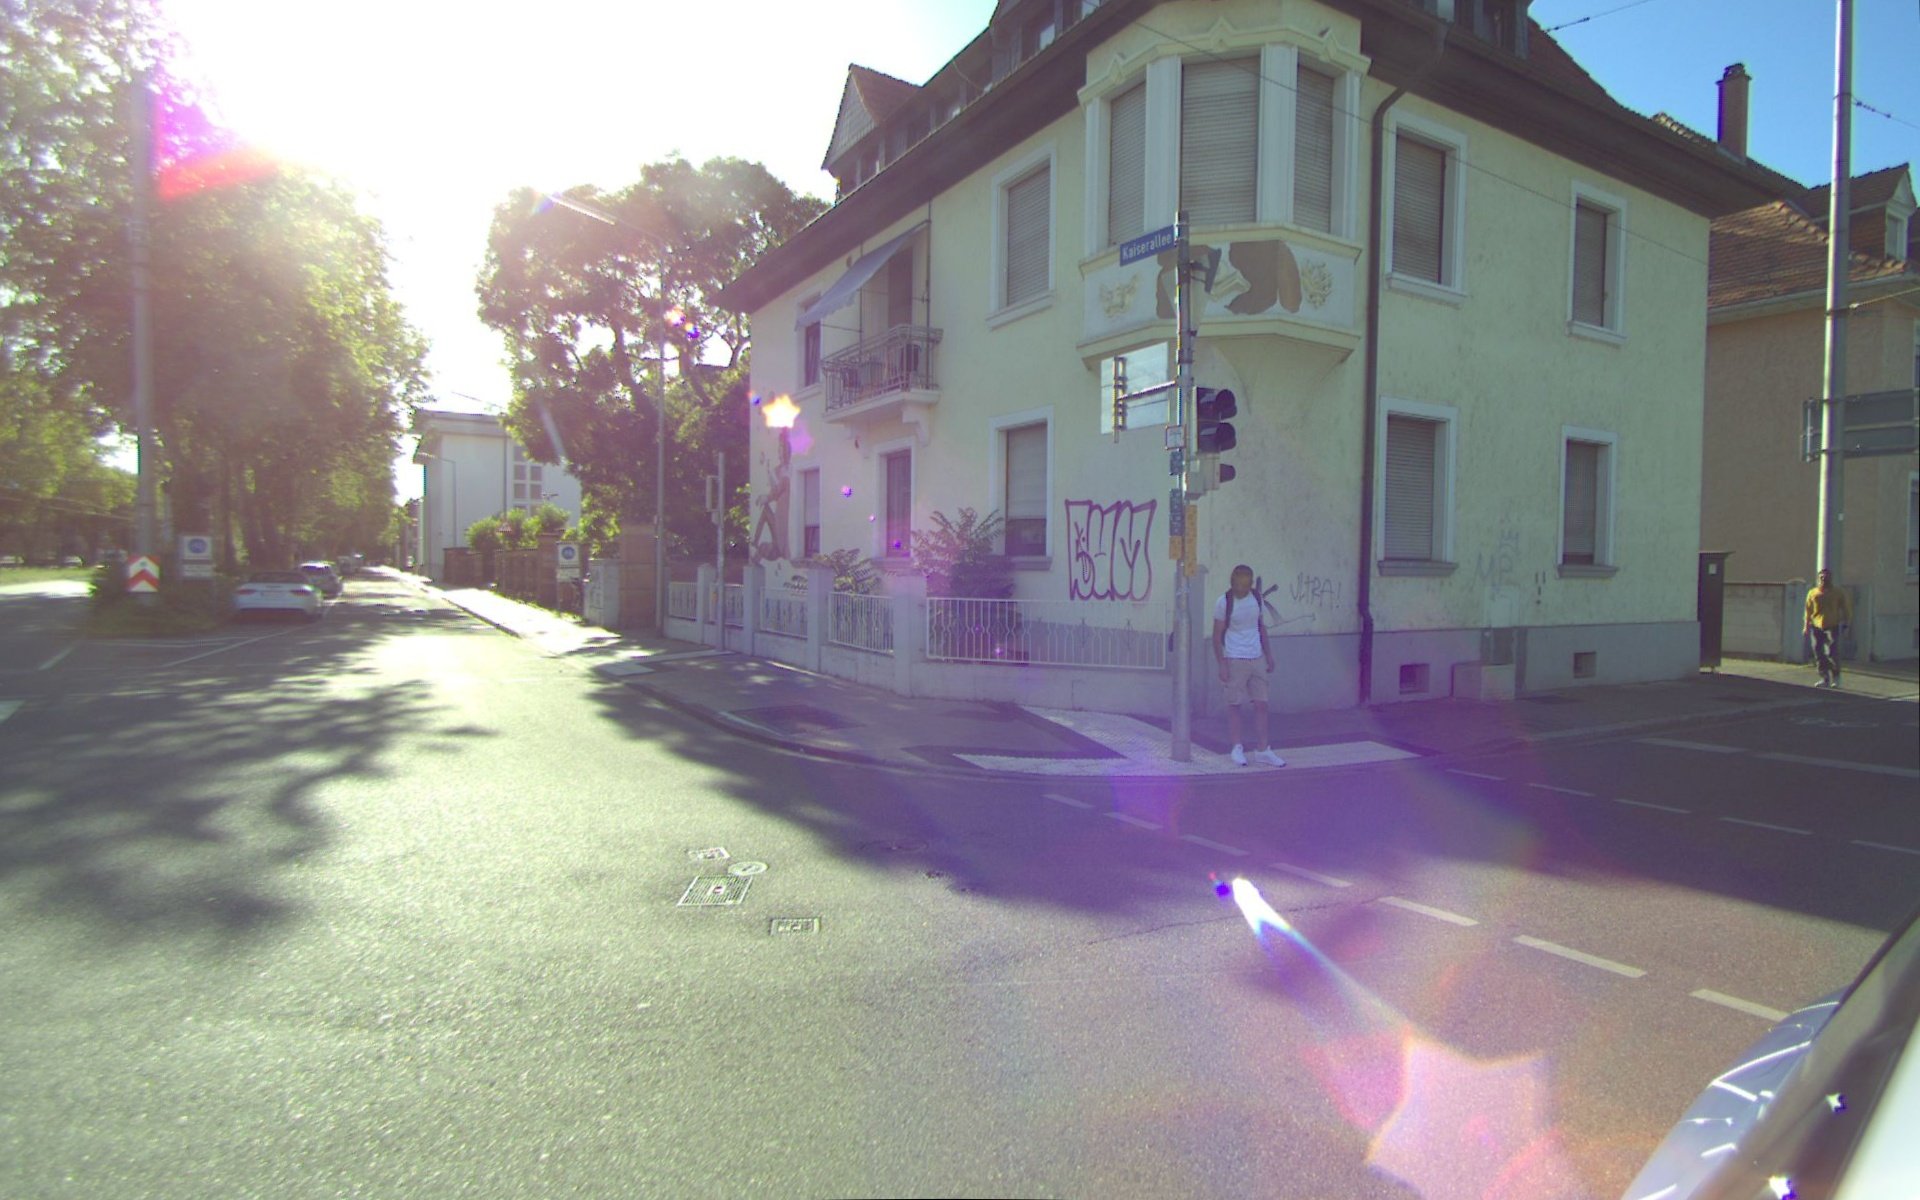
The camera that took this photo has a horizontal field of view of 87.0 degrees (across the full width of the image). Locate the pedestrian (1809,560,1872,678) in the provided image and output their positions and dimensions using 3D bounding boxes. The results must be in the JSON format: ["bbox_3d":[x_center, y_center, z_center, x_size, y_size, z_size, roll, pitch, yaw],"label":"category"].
[{"bbox_3d":[13.616,0.276,15.653,0.477,1.782,0.602,0,1,-36],"label":"pedestrian"}]

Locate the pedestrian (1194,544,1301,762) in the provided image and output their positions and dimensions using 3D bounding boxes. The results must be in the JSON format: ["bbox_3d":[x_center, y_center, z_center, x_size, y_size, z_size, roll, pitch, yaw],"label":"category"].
[{"bbox_3d":[2.448,0.422,8.685,0.662,1.760,0.690,2,4,3],"label":"pedestrian"}]

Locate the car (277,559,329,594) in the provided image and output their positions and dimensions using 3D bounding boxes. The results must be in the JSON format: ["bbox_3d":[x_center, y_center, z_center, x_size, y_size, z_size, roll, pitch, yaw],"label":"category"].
[{"bbox_3d":[-29.674,-1.096,45.723,1.882,1.471,4.505,-1,2,-33],"label":"car"}]

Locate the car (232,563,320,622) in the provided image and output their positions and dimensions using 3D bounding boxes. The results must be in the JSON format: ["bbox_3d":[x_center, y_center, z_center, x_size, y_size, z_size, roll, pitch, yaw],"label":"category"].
[{"bbox_3d":[-18.807,-0.272,27.913,1.882,1.471,4.505,-1,2,-33],"label":"car"}]
